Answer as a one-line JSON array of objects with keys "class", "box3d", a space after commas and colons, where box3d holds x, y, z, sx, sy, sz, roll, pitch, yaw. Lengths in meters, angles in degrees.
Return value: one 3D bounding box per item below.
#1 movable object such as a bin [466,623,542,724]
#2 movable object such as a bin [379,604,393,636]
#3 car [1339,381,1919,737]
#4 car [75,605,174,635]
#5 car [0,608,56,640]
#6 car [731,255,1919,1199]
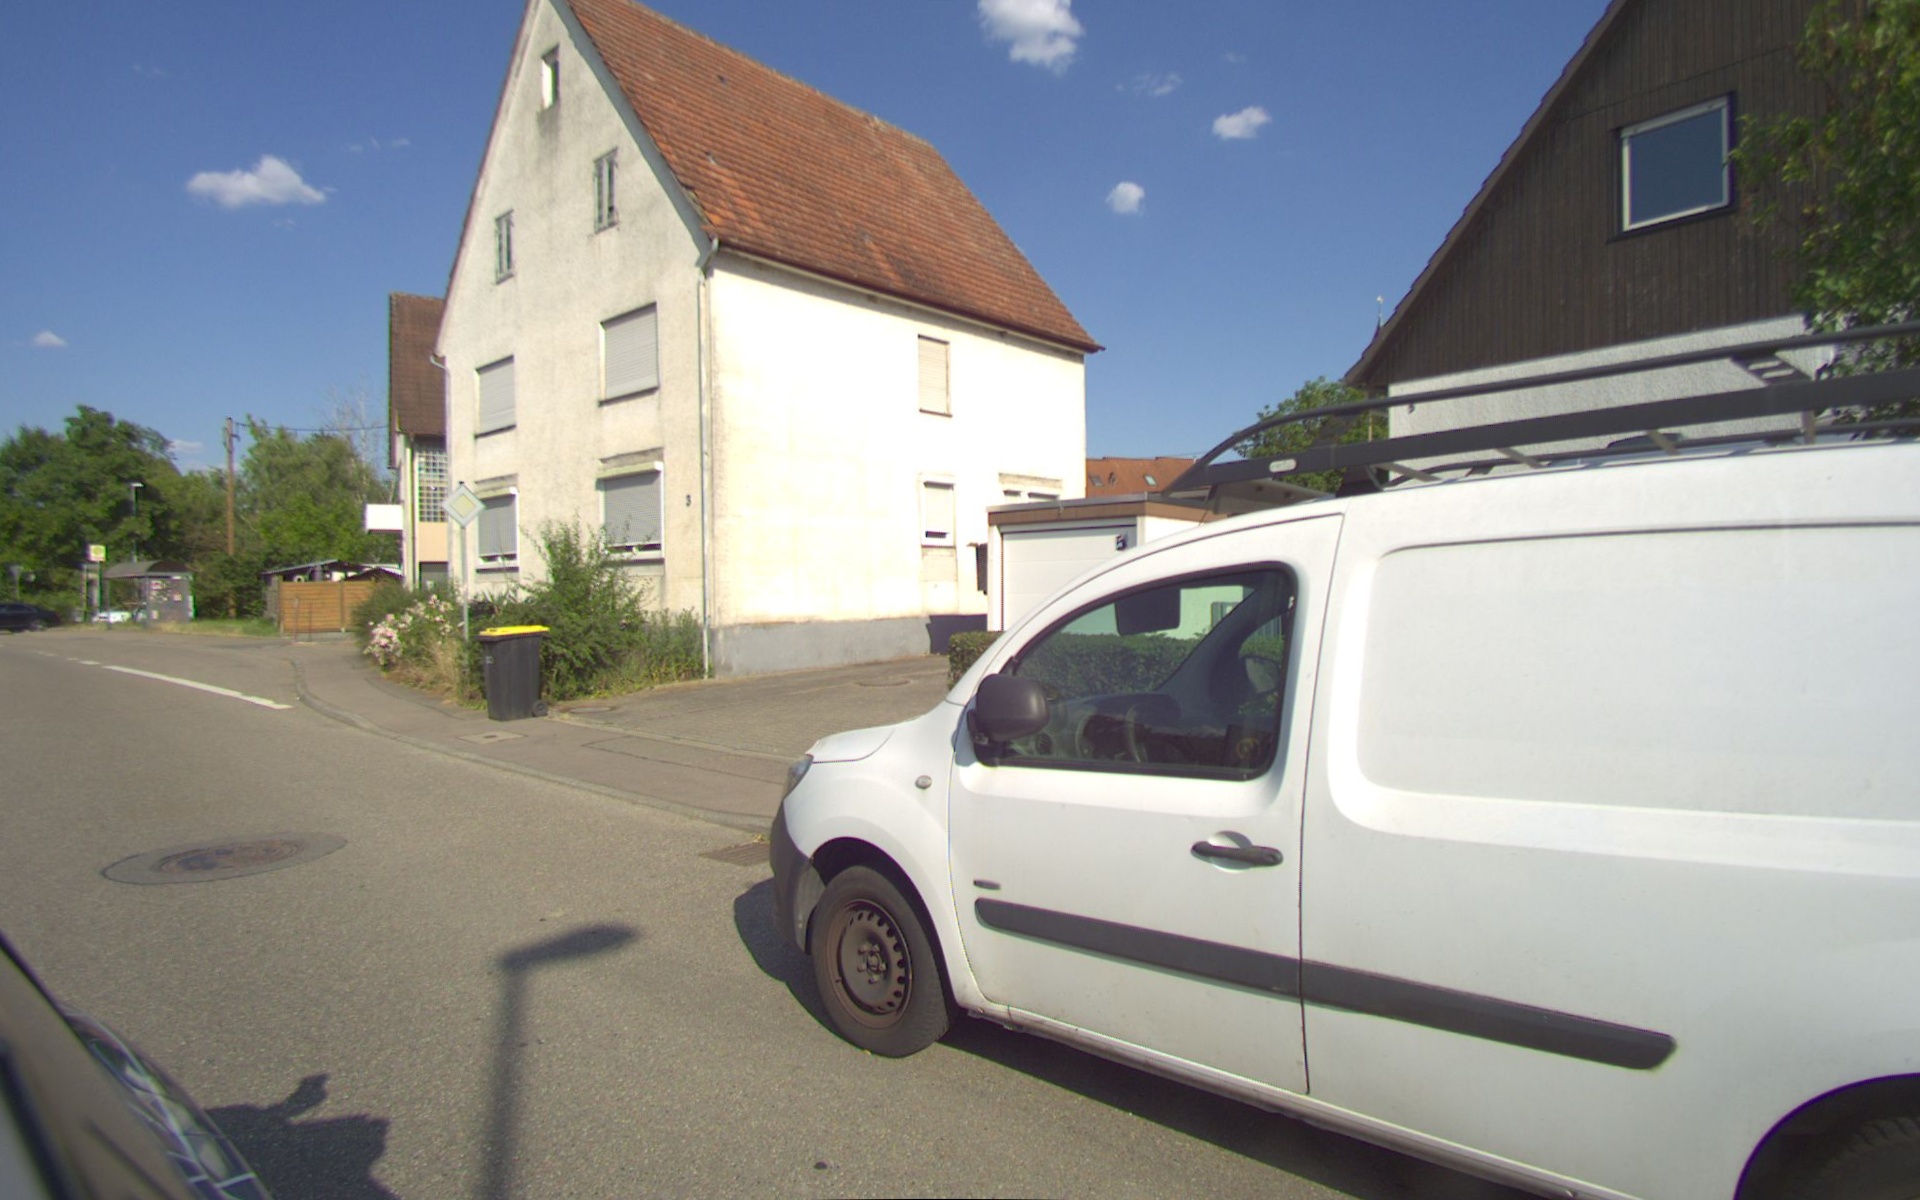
[{"class": "movable object such as a bin", "box3d": [-5.401, 0.847, 11.992, 0.575, 1.109, 0.604, 1, 2, 40]}, {"class": "movable object such as a bin", "box3d": [-19.331, 0.676, 34.098, 0.356, 1.049, 0.559, -1, 2, -33]}, {"class": "car", "box3d": [6.866, -0.319, 9.123, 6.097, 2.615, 2.134, -1, 1, 45]}, {"class": "car", "box3d": [-45.825, 1.085, 55.626, 1.837, 1.503, 4.272, 0, 1, 2]}, {"class": "car", "box3d": [-45.057, 1.135, 46.650, 1.757, 1.442, 4.816, 0, 1, 18]}, {"class": "car", "box3d": [1.287, 0.400, 2.974, 4.190, 1.887, 1.698, -1, -1, 41]}]
